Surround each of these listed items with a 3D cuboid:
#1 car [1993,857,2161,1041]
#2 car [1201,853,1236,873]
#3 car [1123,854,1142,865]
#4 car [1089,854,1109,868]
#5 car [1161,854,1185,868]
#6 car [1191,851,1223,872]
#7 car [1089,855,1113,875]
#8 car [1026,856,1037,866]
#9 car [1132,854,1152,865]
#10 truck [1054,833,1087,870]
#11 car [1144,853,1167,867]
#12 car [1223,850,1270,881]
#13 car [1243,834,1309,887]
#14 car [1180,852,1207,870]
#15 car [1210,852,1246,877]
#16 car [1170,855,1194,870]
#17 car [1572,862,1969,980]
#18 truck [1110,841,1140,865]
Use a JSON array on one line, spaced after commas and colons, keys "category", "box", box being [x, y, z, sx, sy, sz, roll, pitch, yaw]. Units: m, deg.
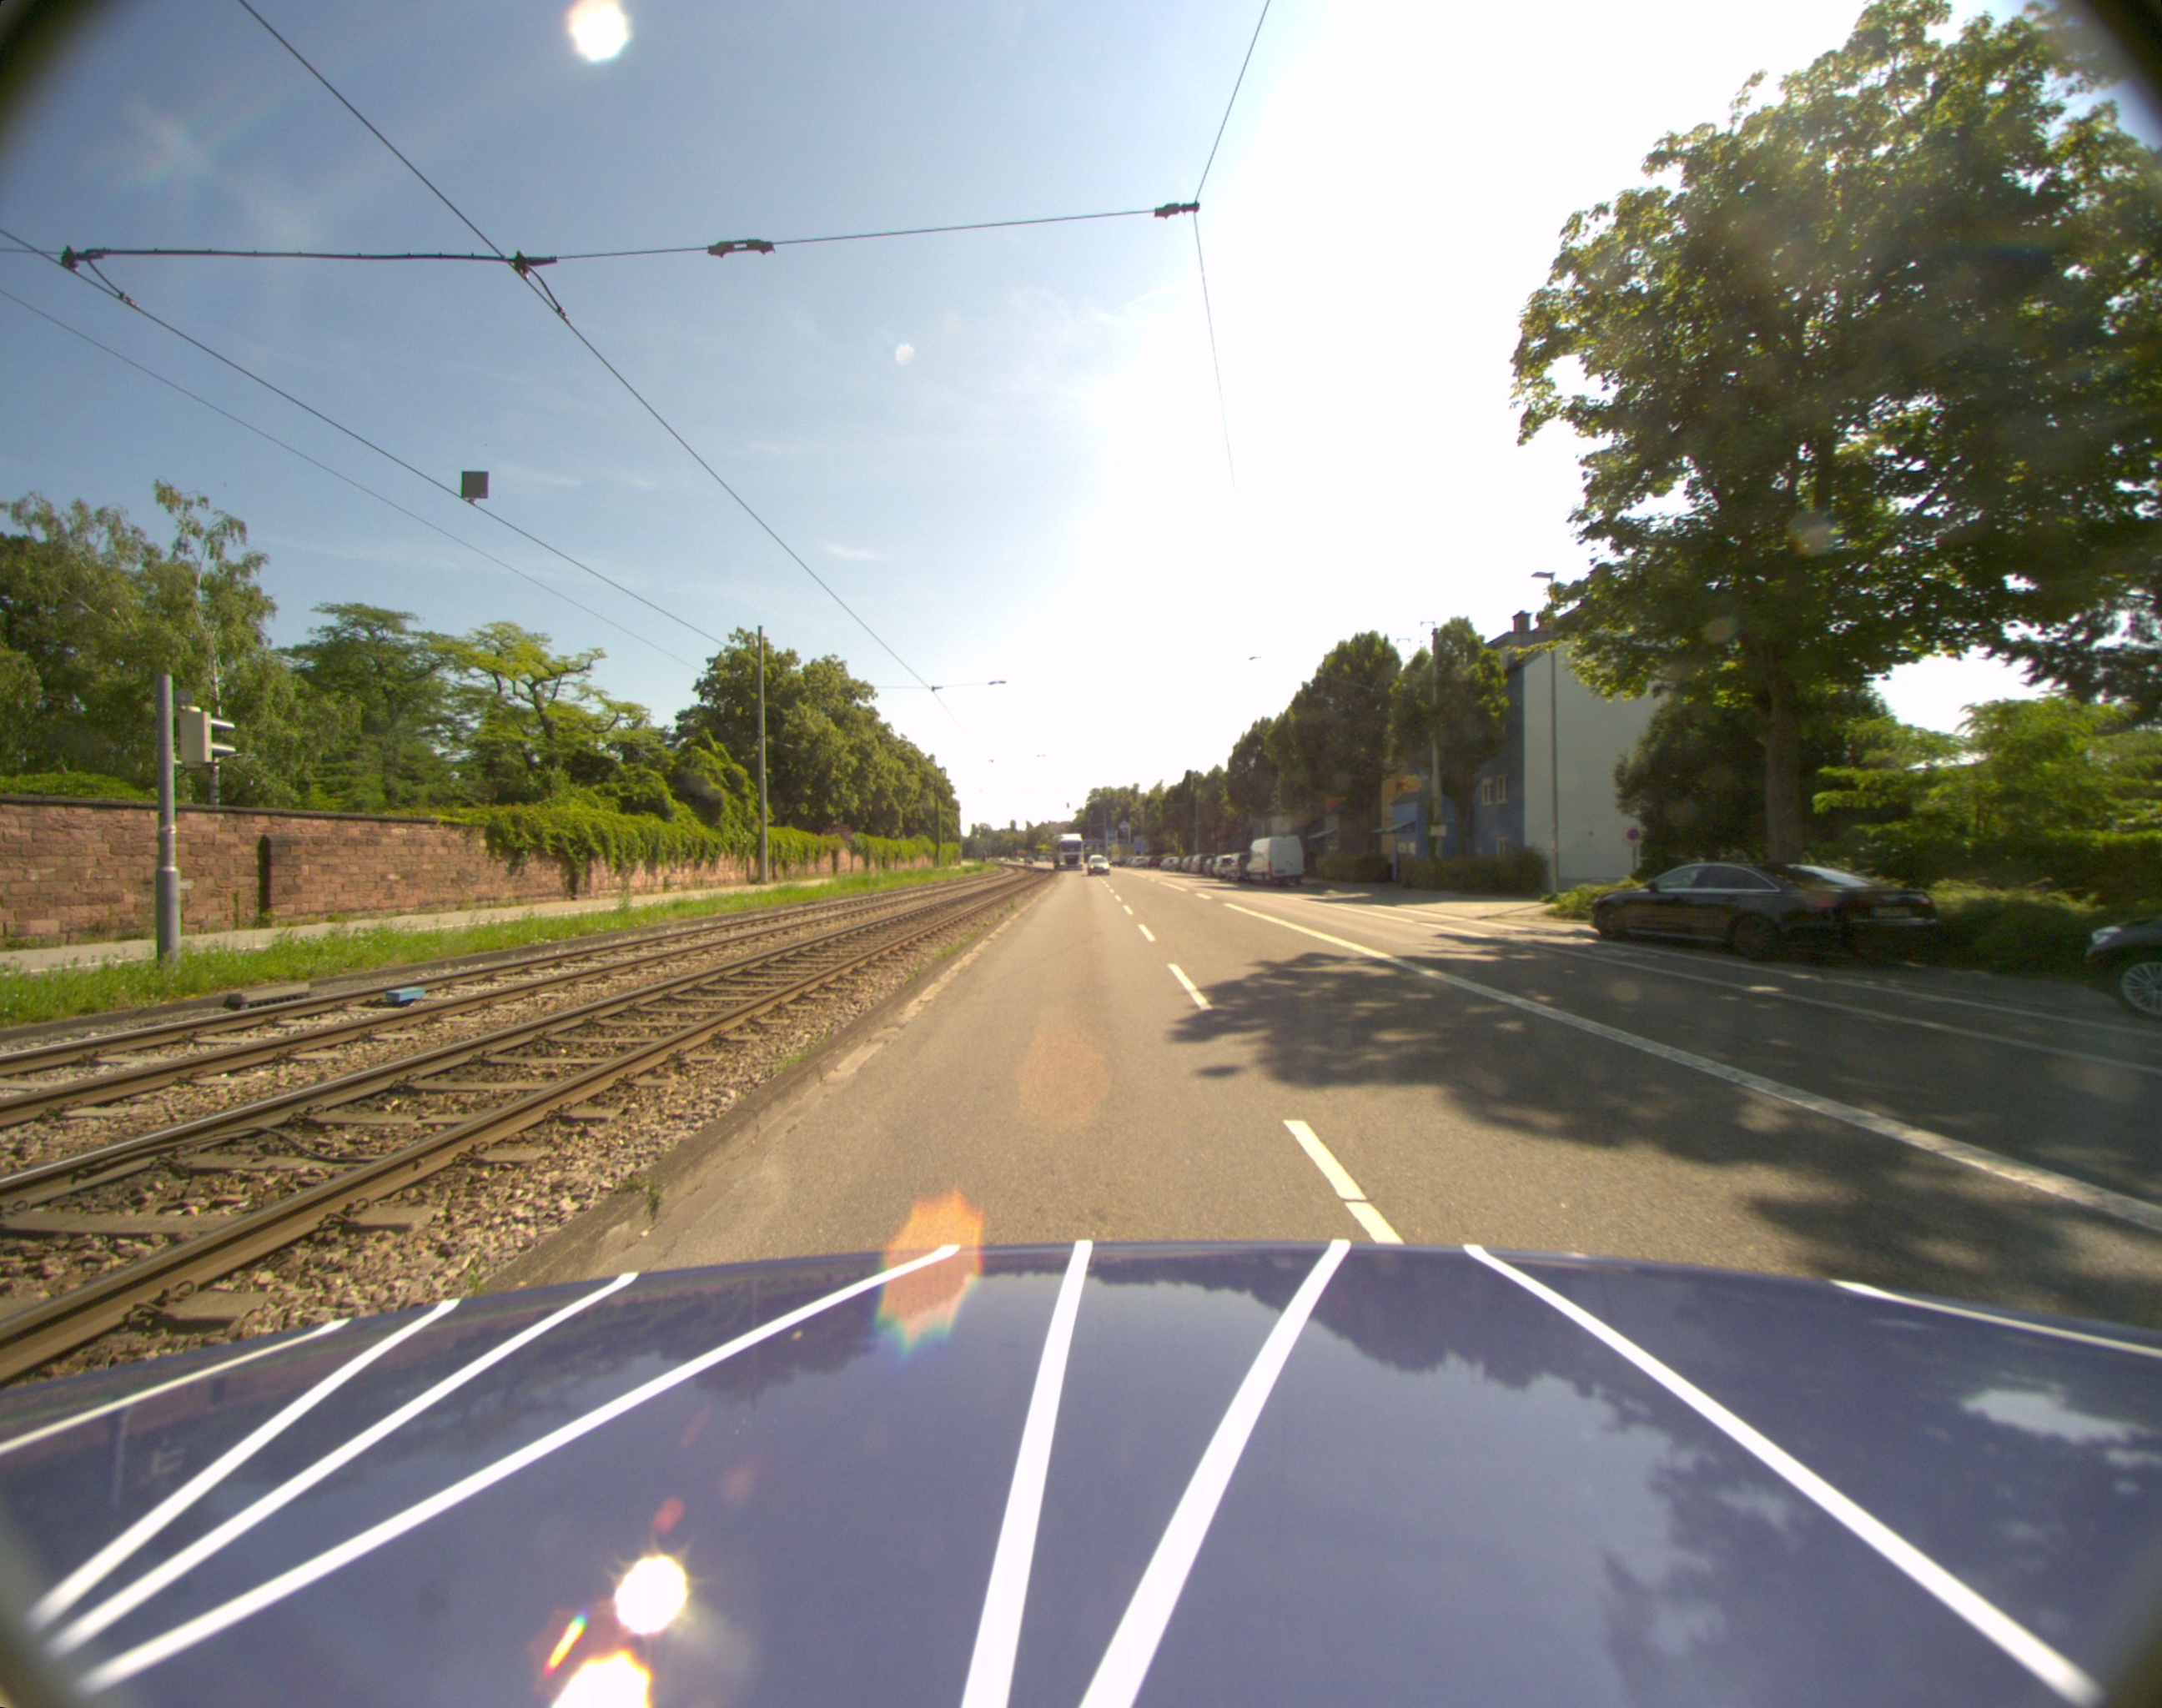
[{"category": "car", "box": [10.547, 0.861, 5.606, 1.766, 1.596, 4.893, -2, 0, 0]}, {"category": "car", "box": [11.224, 0.747, 62.220, 1.871, 1.447, 4.074, -4, 1, -3]}, {"category": "car", "box": [7.402, 0.833, 109.294, 1.915, 1.469, 4.213, -2, 1, -6]}, {"category": "car", "box": [2.066, 0.819, 87.180, 1.785, 1.538, 4.392, -2, 0, -5]}, {"category": "car", "box": [10.319, 0.770, 85.757, 1.682, 1.437, 4.835, -2, 0, -6]}, {"category": "car", "box": [11.146, 0.649, 67.590, 1.834, 1.718, 4.348, -3, 1, -3]}, {"category": "car", "box": [1.565, 0.829, 60.170, 1.747, 1.421, 5.041, -1, 0, 1]}, {"category": "car", "box": [-9.531, 1.297, 145.080, 1.855, 1.707, 3.997, -2, 1, -6]}, {"category": "car", "box": [8.349, 0.739, 104.908, 2.040, 1.490, 4.130, -2, 1, -6]}, {"category": "truck", "box": [-1.350, -0.308, 86.115, 2.806, 3.926, 11.937, 0, 0, -5]}, {"category": "car", "box": [9.427, 0.740, 96.932, 1.911, 1.567, 4.929, -2, 0, -6]}, {"category": "car", "box": [11.143, 0.738, 51.542, 1.998, 1.855, 4.966, -5, 0, 1]}, {"category": "car", "box": [11.005, 0.321, 43.448, 1.998, 2.661, 7.086, -4, 0, 1]}, {"category": "car", "box": [10.759, 0.689, 72.764, 1.681, 1.598, 4.164, -2, 1, -3]}, {"category": "car", "box": [11.022, 0.766, 57.240, 1.852, 1.693, 4.540, -4, 1, 1]}, {"category": "car", "box": [10.488, 0.848, 78.795, 1.681, 1.462, 4.212, -2, 1, -3]}, {"category": "car", "box": [10.559, 0.900, 12.327, 1.845, 1.457, 4.909, 0, 0, -3]}, {"category": "truck", "box": [6.719, -0.180, 116.977, 3.165, 3.533, 8.780, 0, 0, -6]}]
